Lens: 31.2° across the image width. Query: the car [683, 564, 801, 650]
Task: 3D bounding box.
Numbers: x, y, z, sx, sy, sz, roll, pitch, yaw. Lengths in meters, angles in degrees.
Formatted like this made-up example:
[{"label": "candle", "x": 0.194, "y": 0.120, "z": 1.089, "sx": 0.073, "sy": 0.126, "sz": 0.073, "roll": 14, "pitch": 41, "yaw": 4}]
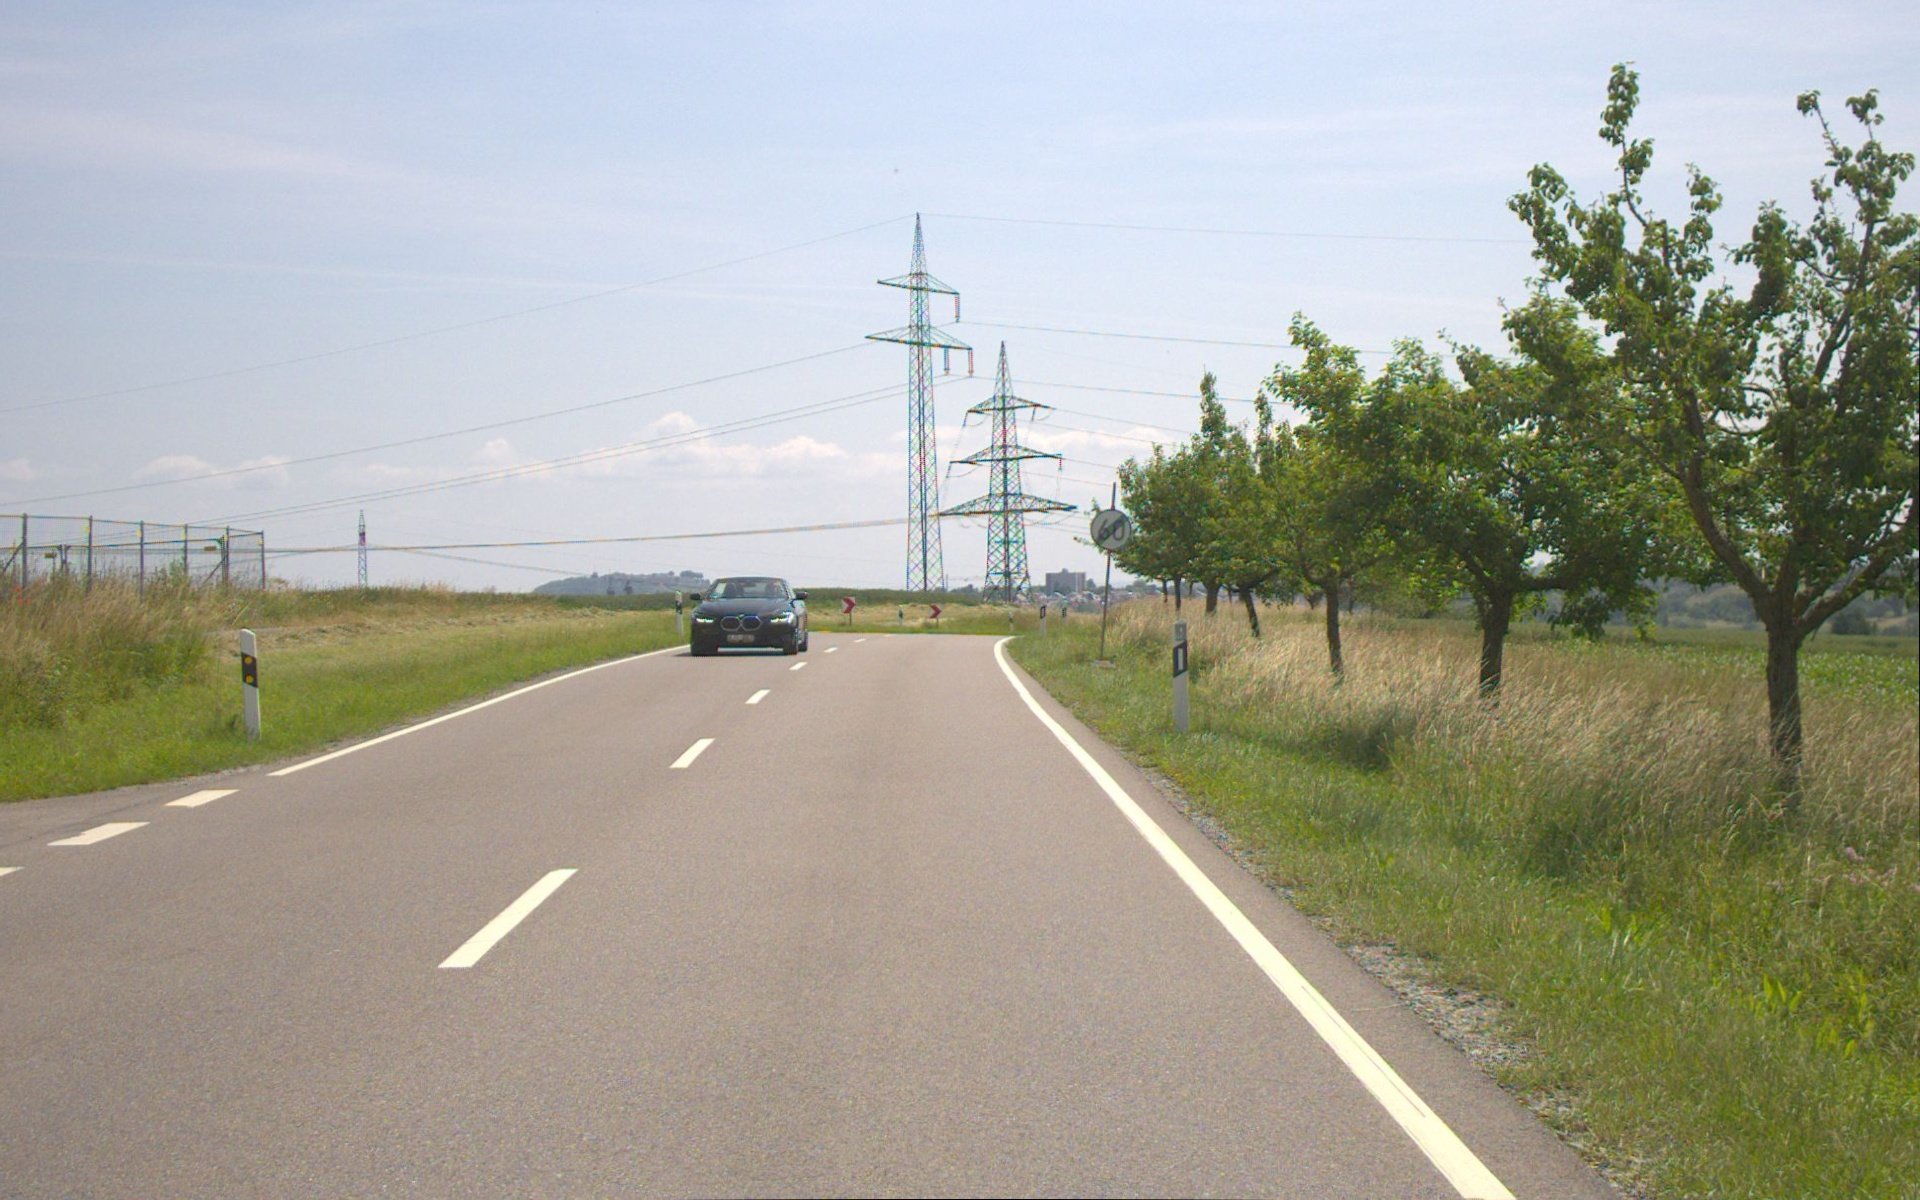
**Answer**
[{"label": "car", "x": -3.753, "y": 0.099, "z": 59.664, "sx": 1.822, "sy": 1.406, "sz": 4.000, "roll": 0, "pitch": 1, "yaw": -1}]
